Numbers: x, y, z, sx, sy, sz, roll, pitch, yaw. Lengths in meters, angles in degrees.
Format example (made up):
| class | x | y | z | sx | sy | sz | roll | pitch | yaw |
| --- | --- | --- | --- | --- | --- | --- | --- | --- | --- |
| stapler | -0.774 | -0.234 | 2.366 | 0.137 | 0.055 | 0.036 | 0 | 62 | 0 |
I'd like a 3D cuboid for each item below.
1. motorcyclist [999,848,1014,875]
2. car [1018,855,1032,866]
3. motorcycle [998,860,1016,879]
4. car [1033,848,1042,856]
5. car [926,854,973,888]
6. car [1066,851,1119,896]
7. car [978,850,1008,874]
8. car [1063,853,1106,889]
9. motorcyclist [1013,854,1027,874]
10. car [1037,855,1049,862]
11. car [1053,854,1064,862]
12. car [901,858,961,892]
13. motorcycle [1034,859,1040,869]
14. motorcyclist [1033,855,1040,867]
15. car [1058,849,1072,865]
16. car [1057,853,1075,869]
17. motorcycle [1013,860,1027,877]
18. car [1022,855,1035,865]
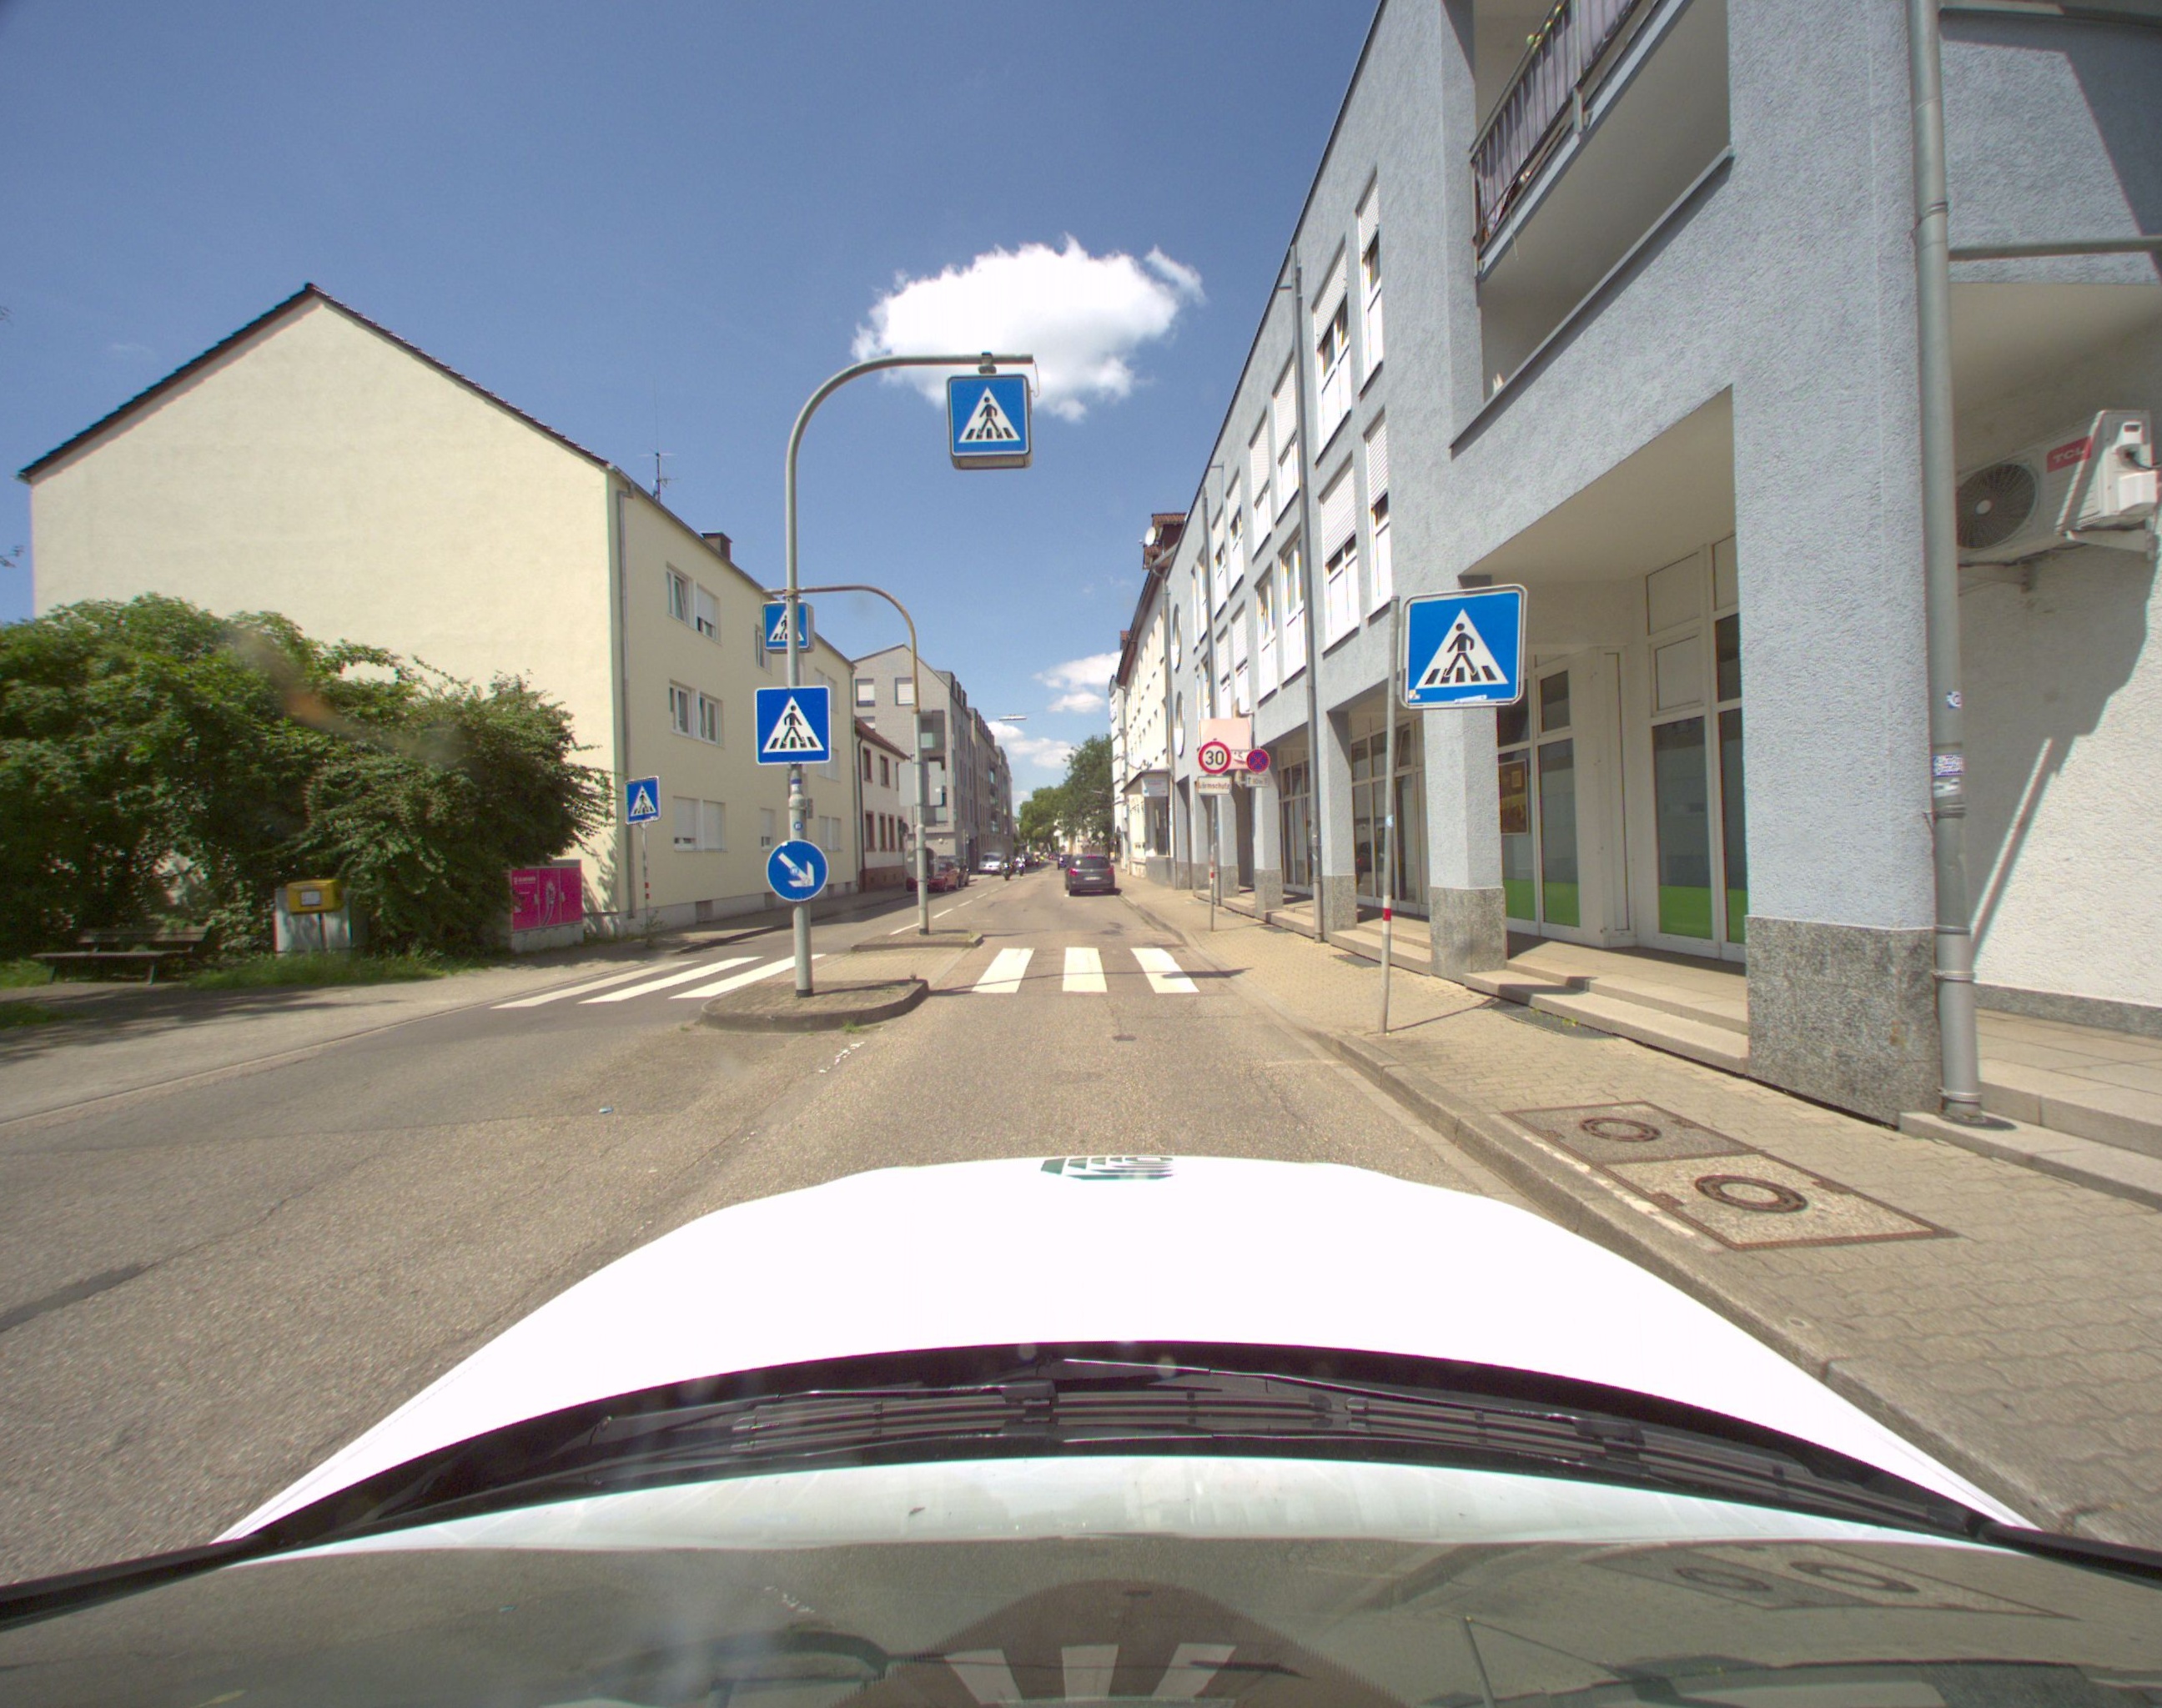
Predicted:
| class | x | y | z | sx | sy | sz | roll | pitch | yaw |
| --- | --- | --- | --- | --- | --- | --- | --- | --- | --- |
| motorcyclist | -4.544 | 0.441 | 49.622 | 0.710 | 1.634 | 1.069 | -3 | 0 | 3 |
| car | -7.747 | 0.882 | 113.409 | 1.728 | 1.442 | 3.997 | -2 | 0 | -2 |
| motorcycle | -4.521 | 0.940 | 49.718 | 0.710 | 1.028 | 2.241 | -3 | 0 | 3 |
| car | -12.324 | -0.517 | 230.418 | 2.155 | 2.013 | 3.990 | -2 | 0 | -7 |
| car | -6.865 | 0.844 | 42.737 | 1.789 | 1.646 | 3.944 | -1 | 0 | 0 |
| car | 0.377 | 0.684 | 30.577 | 1.706 | 1.508 | 3.996 | -2 | 0 | -3 |
| car | -7.052 | 0.617 | 65.627 | 1.750 | 1.892 | 4.340 | 0 | 0 | 3 |
| car | 0.112 | 0.711 | 36.184 | 1.724 | 1.420 | 4.542 | -2 | 0 | -1 |
| motorcyclist | -4.520 | 0.736 | 60.125 | 0.913 | 1.480 | 1.202 | -2 | 0 | -1 |
| car | -7.492 | 0.841 | 160.092 | 1.986 | 1.381 | 4.393 | 0 | 0 | 1 |
| car | -4.983 | 0.881 | 178.711 | 1.991 | 1.618 | 3.992 | -2 | 0 | -6 |
| car | -6.861 | 0.936 | 37.739 | 1.827 | 1.417 | 4.291 | -2 | 0 | 1 |
| motorcycle | -5.576 | 1.261 | 103.135 | 0.685 | 1.122 | 2.027 | -2 | 0 | 0 |
| motorcyclist | -5.592 | 0.877 | 103.050 | 0.820 | 1.509 | 1.056 | -2 | 0 | -1 |
| car | -2.132 | 0.384 | 112.151 | 1.833 | 2.013 | 3.999 | -2 | 1 | -1 |
| car | -1.434 | 0.629 | 78.593 | 1.710 | 1.402 | 3.999 | -2 | 1 | -1 |
| motorcycle | -4.507 | 1.053 | 60.122 | 0.893 | 1.176 | 2.207 | -2 | 0 | -1 |
| car | -7.649 | 0.841 | 118.422 | 1.728 | 1.442 | 3.997 | -2 | 0 | -2 |
